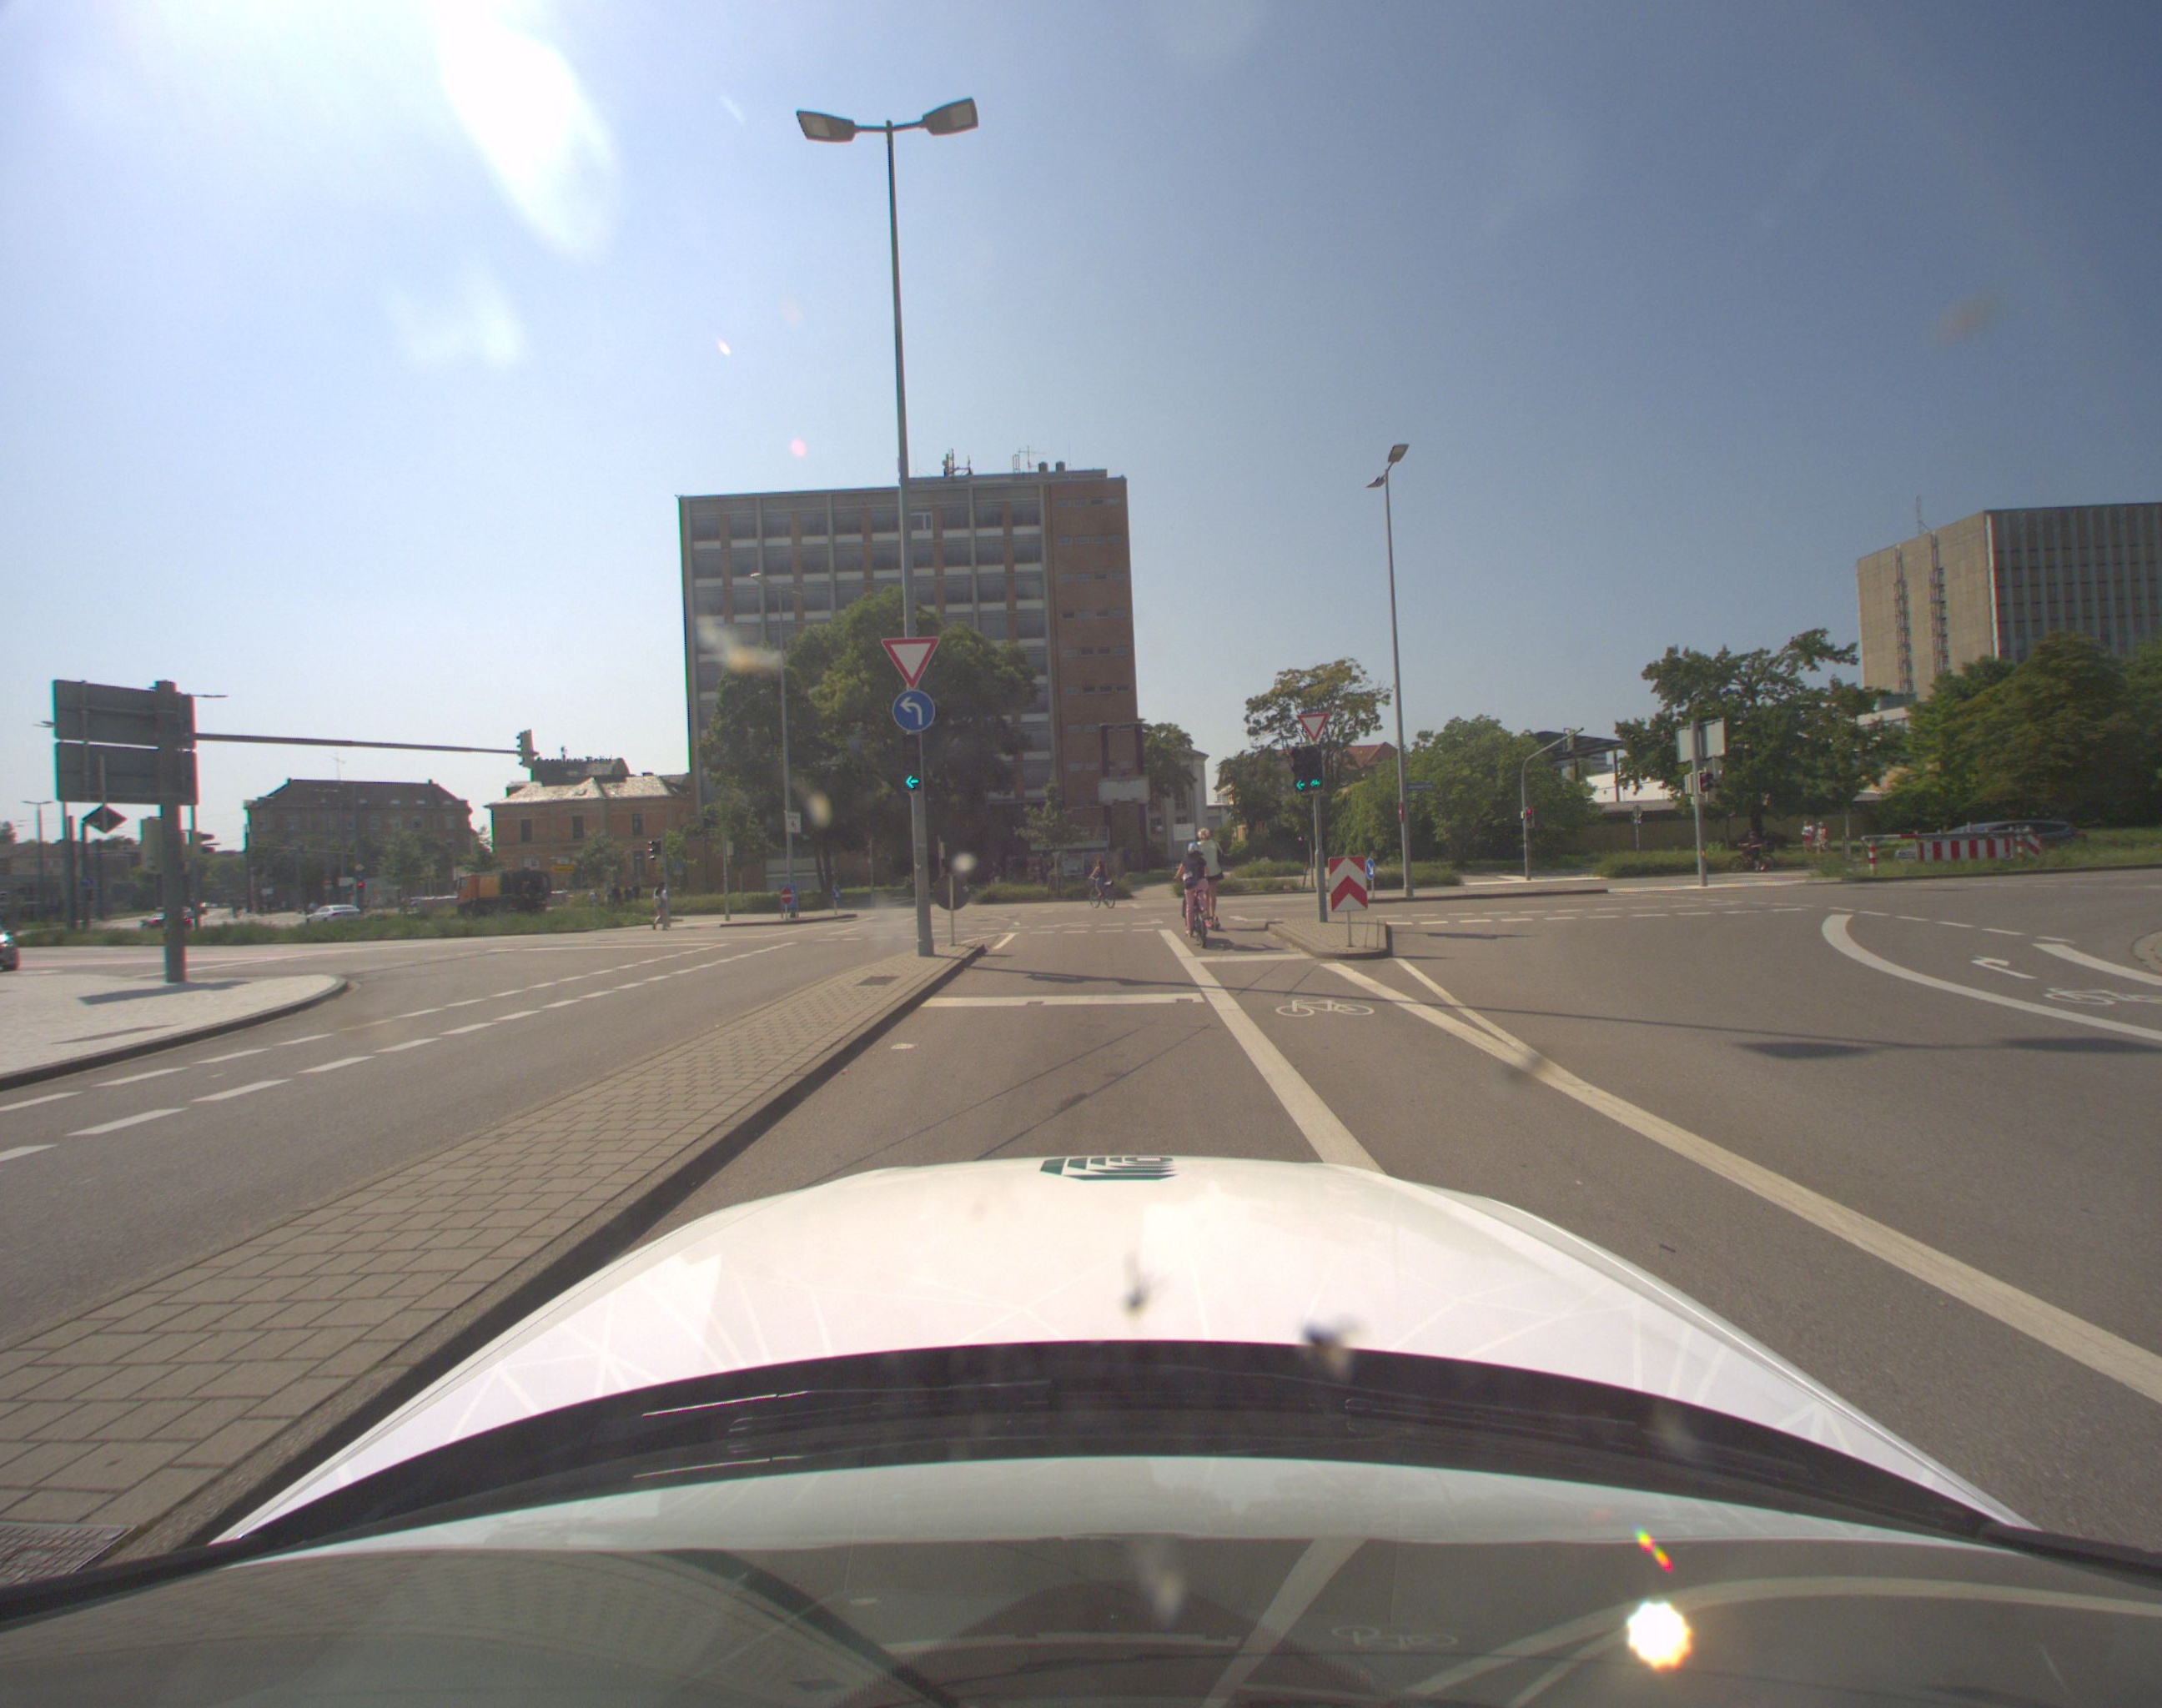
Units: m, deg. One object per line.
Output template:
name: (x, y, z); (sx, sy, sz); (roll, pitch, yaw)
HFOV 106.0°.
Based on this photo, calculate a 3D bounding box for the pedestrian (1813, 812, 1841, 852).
pedestrian: (34.404, -1.004, 37.562); (0.583, 1.771, 0.695); (-3, -1, 6)

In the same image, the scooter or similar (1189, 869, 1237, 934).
scooter or similar: (2.448, 0.851, 15.300); (0.554, 1.060, 2.004); (-3, 0, 1)

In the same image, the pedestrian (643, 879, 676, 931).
pedestrian: (-14.223, 1.720, 27.496); (0.600, 1.695, 0.703); (-3, 0, 19)

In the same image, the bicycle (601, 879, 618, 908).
bicycle: (-30.915, 2.564, 53.386); (1.345, 1.860, 0.460); (-3, -1, 41)

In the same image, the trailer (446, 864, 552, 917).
trailer: (-35.344, 2.246, 49.456); (6.246, 3.008, 2.485); (-3, -2, 25)

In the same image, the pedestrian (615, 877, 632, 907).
pedestrian: (-30.406, 2.511, 54.115); (0.744, 1.973, 0.785); (-3, -1, 44)

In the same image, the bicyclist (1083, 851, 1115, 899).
bicyclist: (0.630, 0.721, 28.475); (0.695, 1.598, 0.835); (-4, 2, -31)

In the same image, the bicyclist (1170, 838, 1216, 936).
bicyclist: (1.778, 0.510, 13.011); (0.547, 1.496, 0.804); (-3, 0, 1)

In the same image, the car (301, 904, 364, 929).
car: (-48.918, 4.082, 53.220); (4.368, 1.455, 1.774); (-3, -2, 30)

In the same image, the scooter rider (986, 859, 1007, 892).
scooter rider: (-4.580, 1.163, 44.221); (0.795, 1.739, 0.692); (-3, 0, 23)

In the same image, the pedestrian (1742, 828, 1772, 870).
pedestrian: (27.147, -0.201, 32.717); (0.544, 1.669, 0.782); (-3, 0, 6)

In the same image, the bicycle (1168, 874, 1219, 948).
bicycle: (1.814, 0.894, 13.394); (0.554, 1.060, 2.004); (-2, 0, 1)

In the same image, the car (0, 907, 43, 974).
car: (-33.341, 2.654, 23.953); (4.285, 1.859, 2.010); (-3, 2, 18)

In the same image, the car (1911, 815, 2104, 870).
car: (26.957, -0.307, 23.805); (3.397, 1.357, 1.794); (-3, -2, 4)

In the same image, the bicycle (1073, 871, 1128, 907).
bicycle: (0.645, 1.210, 28.516); (0.698, 1.154, 2.347); (-4, 1, -31)

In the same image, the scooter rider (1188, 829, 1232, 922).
scooter rider: (2.429, 0.396, 15.414); (0.668, 1.699, 0.539); (-3, 0, 0)

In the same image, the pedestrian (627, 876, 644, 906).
pedestrian: (-30.314, 2.514, 55.410); (0.744, 1.973, 0.785); (-3, -1, 44)

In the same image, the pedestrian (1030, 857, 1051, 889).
pedestrian: (-2.261, 1.033, 45.504); (0.869, 1.704, 0.711); (-3, 1, 18)

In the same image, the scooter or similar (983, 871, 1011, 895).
scooter or similar: (-4.573, 1.568, 44.320); (1.351, 1.234, 0.588); (-3, 0, 23)

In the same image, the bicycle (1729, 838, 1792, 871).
bicycle: (27.279, 0.024, 32.704); (1.774, 1.212, 0.787); (-3, 0, 5)

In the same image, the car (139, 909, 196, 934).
car: (-56.547, 4.161, 50.392); (3.929, 1.404, 1.775); (-3, -2, 33)

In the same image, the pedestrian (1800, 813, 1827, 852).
pedestrian: (34.448, -0.992, 38.290); (0.583, 1.771, 0.695); (-3, -1, 6)
